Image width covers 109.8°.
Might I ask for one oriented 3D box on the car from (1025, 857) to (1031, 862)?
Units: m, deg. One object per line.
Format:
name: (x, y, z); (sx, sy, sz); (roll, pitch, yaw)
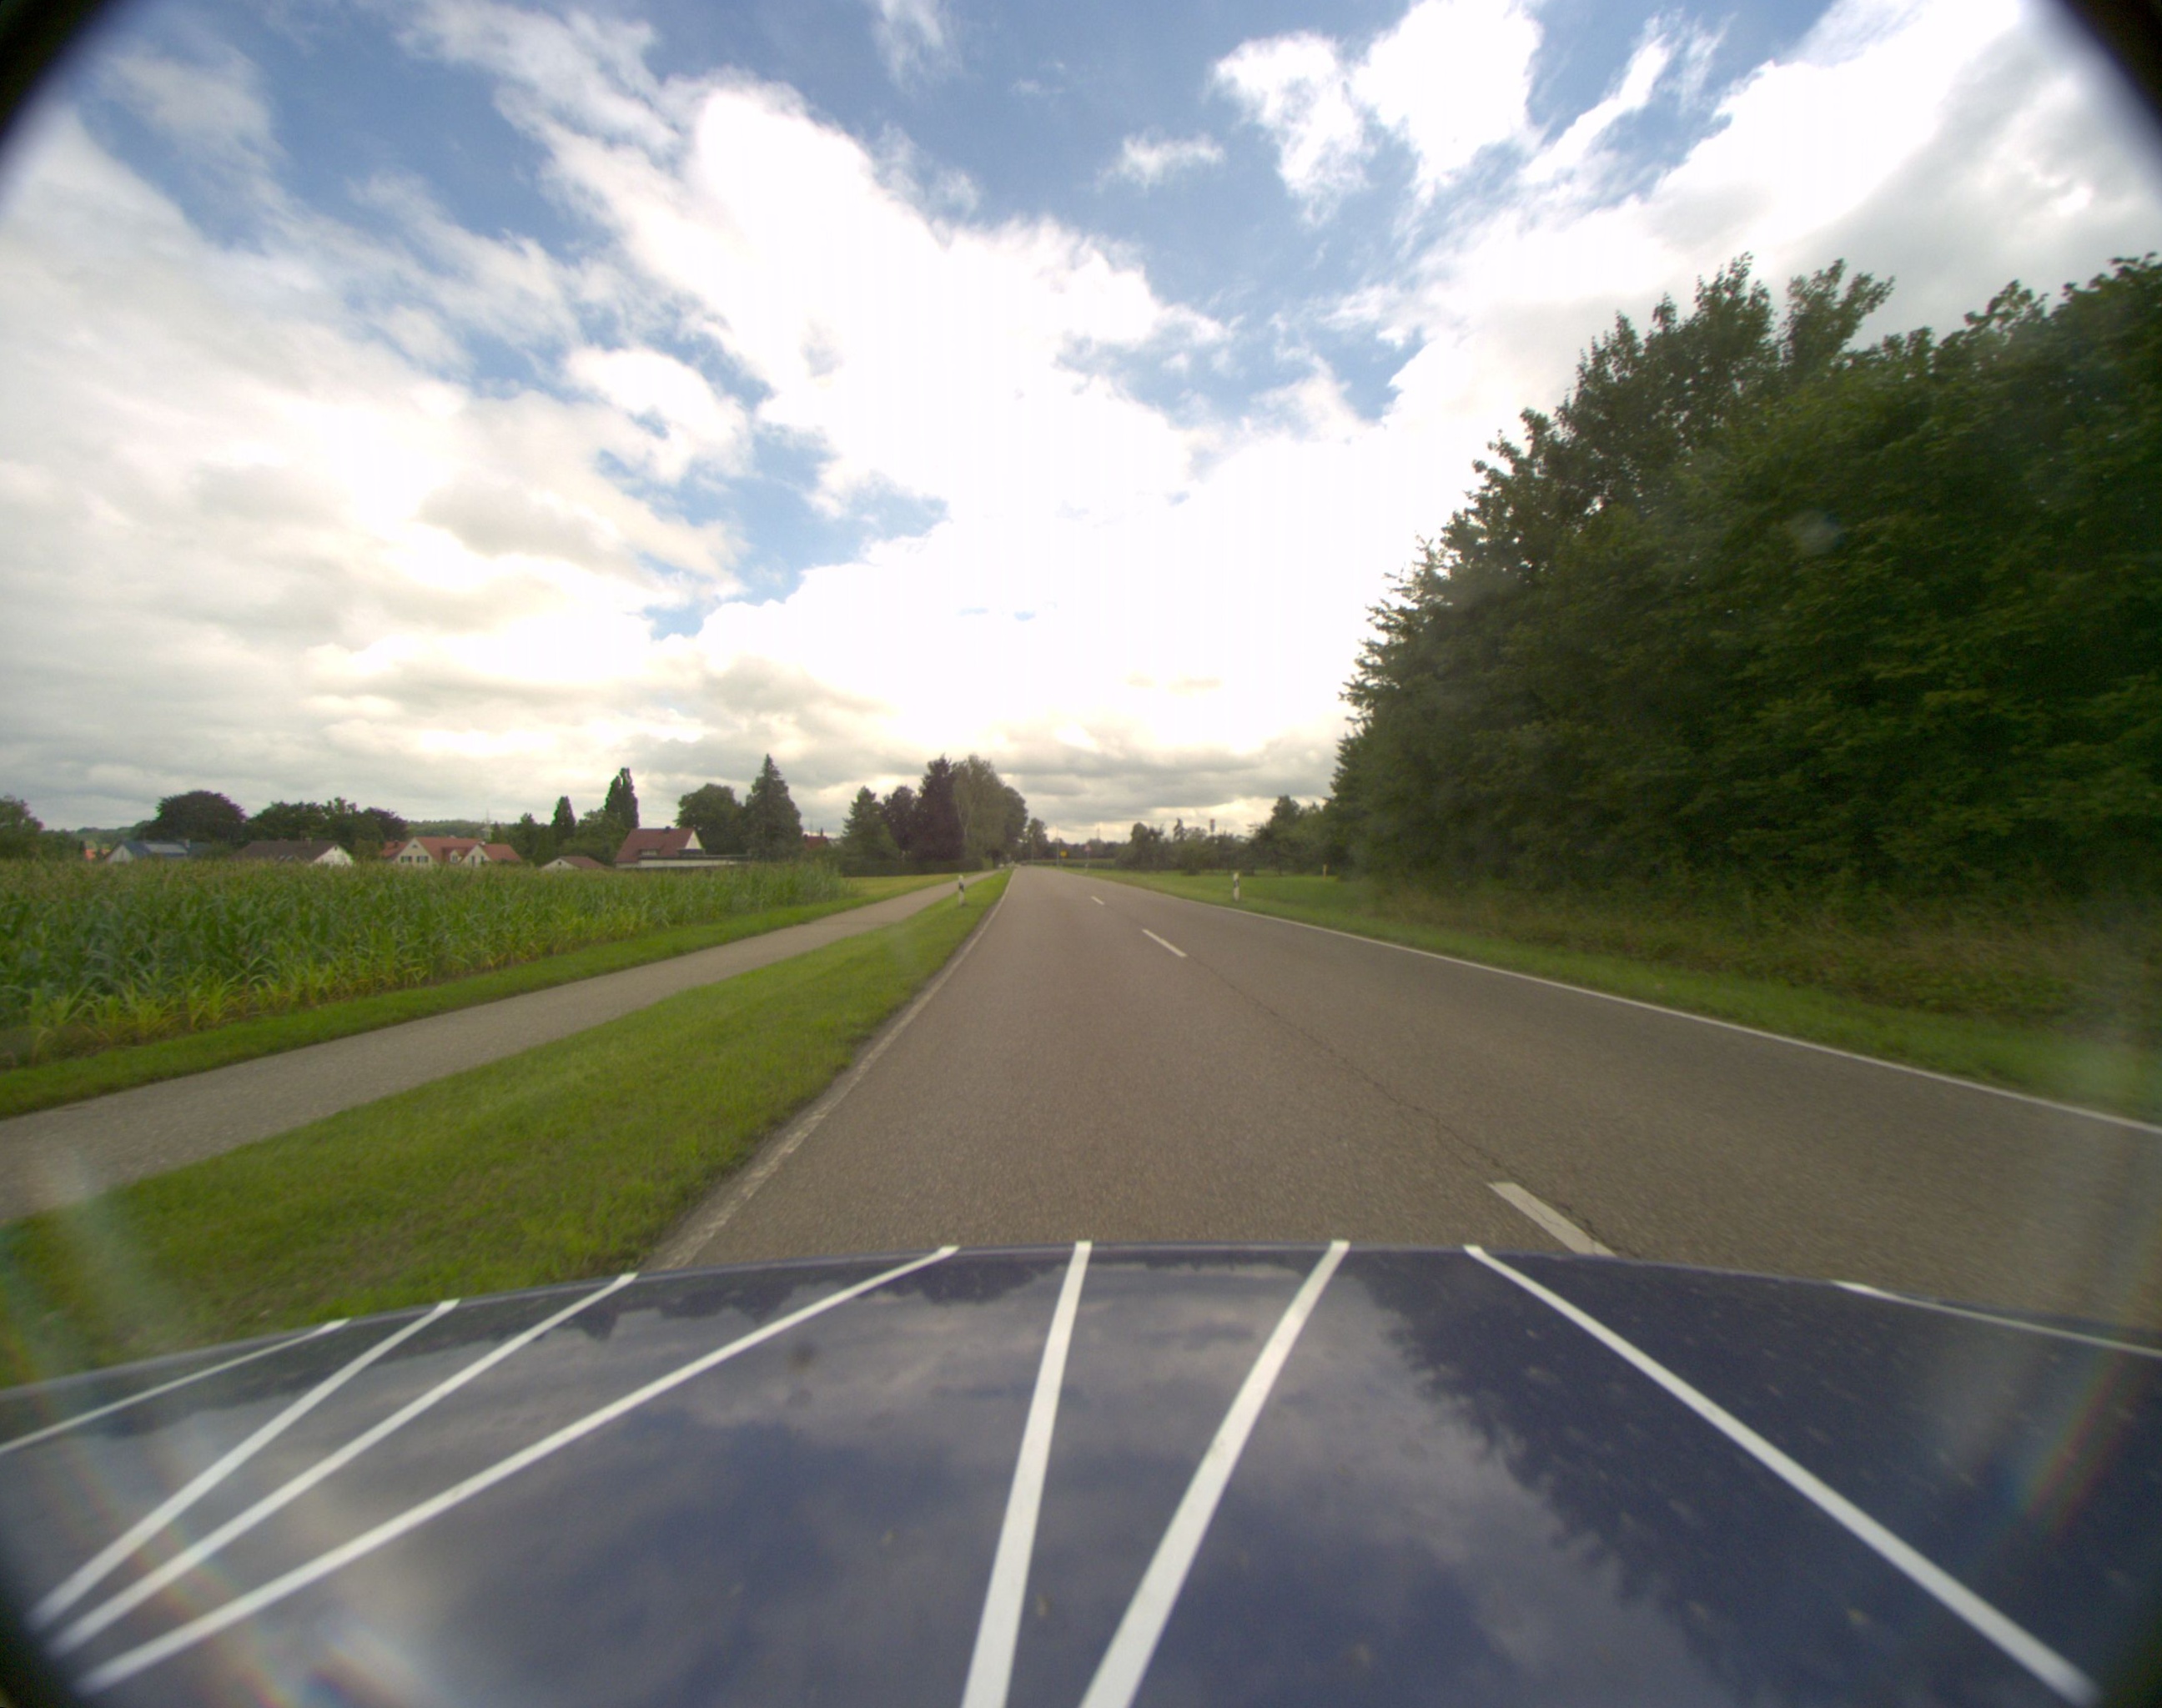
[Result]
car: (-18.078, 1.787, 257.530); (1.869, 1.543, 4.180); (2, 0, -4)
